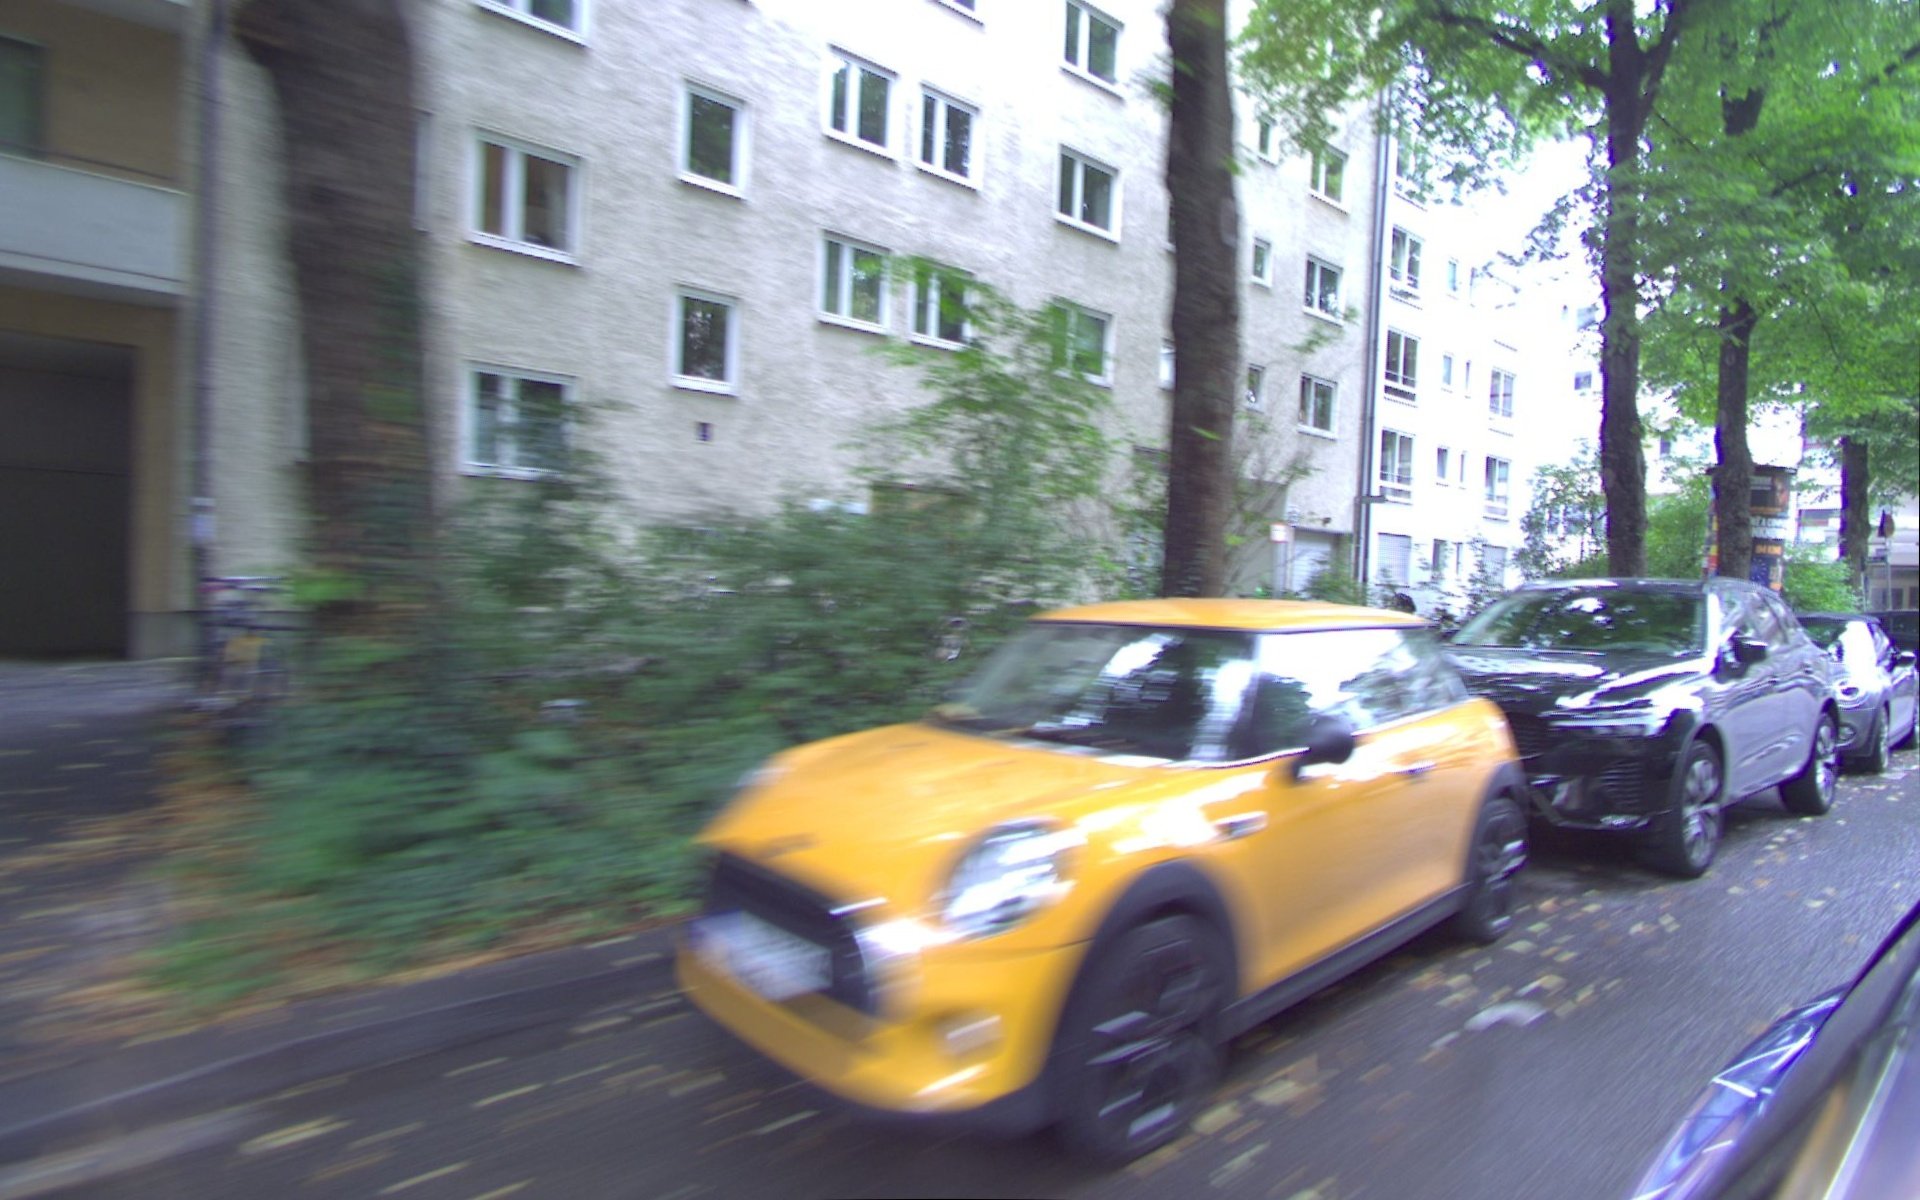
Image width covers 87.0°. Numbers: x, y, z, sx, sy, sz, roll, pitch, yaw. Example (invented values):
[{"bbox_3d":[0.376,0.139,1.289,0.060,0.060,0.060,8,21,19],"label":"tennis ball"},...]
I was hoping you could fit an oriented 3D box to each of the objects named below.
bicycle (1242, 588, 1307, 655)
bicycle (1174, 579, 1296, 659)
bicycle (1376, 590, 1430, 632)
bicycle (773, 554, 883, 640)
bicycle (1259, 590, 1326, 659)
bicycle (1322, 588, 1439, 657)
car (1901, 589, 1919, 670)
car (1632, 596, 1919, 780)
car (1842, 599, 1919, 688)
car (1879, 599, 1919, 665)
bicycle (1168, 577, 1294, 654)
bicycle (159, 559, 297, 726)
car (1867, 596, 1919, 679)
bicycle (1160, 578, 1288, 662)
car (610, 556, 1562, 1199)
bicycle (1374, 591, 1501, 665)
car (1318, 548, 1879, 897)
[{"bbox_3d":[5.709,0.370,18.331,0.444,1.138,1.745,3,1,40],"label":"bicycle"},{"bbox_3d":[4.211,0.272,15.539,1.747,1.138,0.443,2,1,16],"label":"bicycle"},{"bbox_3d":[11.672,0.271,26.653,1.671,1.035,0.539,0,5,-40],"label":"bicycle"},{"bbox_3d":[-1.983,-0.053,15.334,1.646,1.239,0.450,1,2,-39],"label":"bicycle"},{"bbox_3d":[5.767,0.404,17.482,0.444,1.138,1.745,3,1,40],"label":"bicycle"},{"bbox_3d":[7.670,0.390,18.523,1.868,1.138,0.532,3,1,40],"label":"bicycle"},{"bbox_3d":[20.730,0.675,19.179,1.724,1.574,3.983,1,2,-38],"label":"car"},{"bbox_3d":[8.916,0.730,10.605,4.350,1.430,1.904,0,4,-40],"label":"car"},{"bbox_3d":[16.979,0.786,16.141,1.702,1.411,4.095,1,2,-37],"label":"car"},{"bbox_3d":[22.537,0.786,21.177,1.926,1.394,4.726,0,2,-42],"label":"car"},{"bbox_3d":[4.384,0.229,16.465,1.937,1.138,0.440,3,1,36],"label":"bicycle"},{"bbox_3d":[-5.629,0.267,7.742,1.831,1.097,0.538,4,2,44],"label":"bicycle"},{"bbox_3d":[18.787,0.752,17.872,1.795,1.465,3.942,0,3,-42],"label":"car"},{"bbox_3d":[3.848,0.277,14.789,1.747,1.138,0.443,2,1,16],"label":"bicycle"},{"bbox_3d":[0.788,0.618,3.931,3.715,1.430,1.621,1,2,-42],"label":"car"},{"bbox_3d":[8.139,0.458,17.291,1.868,1.138,0.532,3,1,40],"label":"bicycle"},{"bbox_3d":[4.519,0.561,6.877,4.443,1.649,1.836,1,2,-39],"label":"car"}]
